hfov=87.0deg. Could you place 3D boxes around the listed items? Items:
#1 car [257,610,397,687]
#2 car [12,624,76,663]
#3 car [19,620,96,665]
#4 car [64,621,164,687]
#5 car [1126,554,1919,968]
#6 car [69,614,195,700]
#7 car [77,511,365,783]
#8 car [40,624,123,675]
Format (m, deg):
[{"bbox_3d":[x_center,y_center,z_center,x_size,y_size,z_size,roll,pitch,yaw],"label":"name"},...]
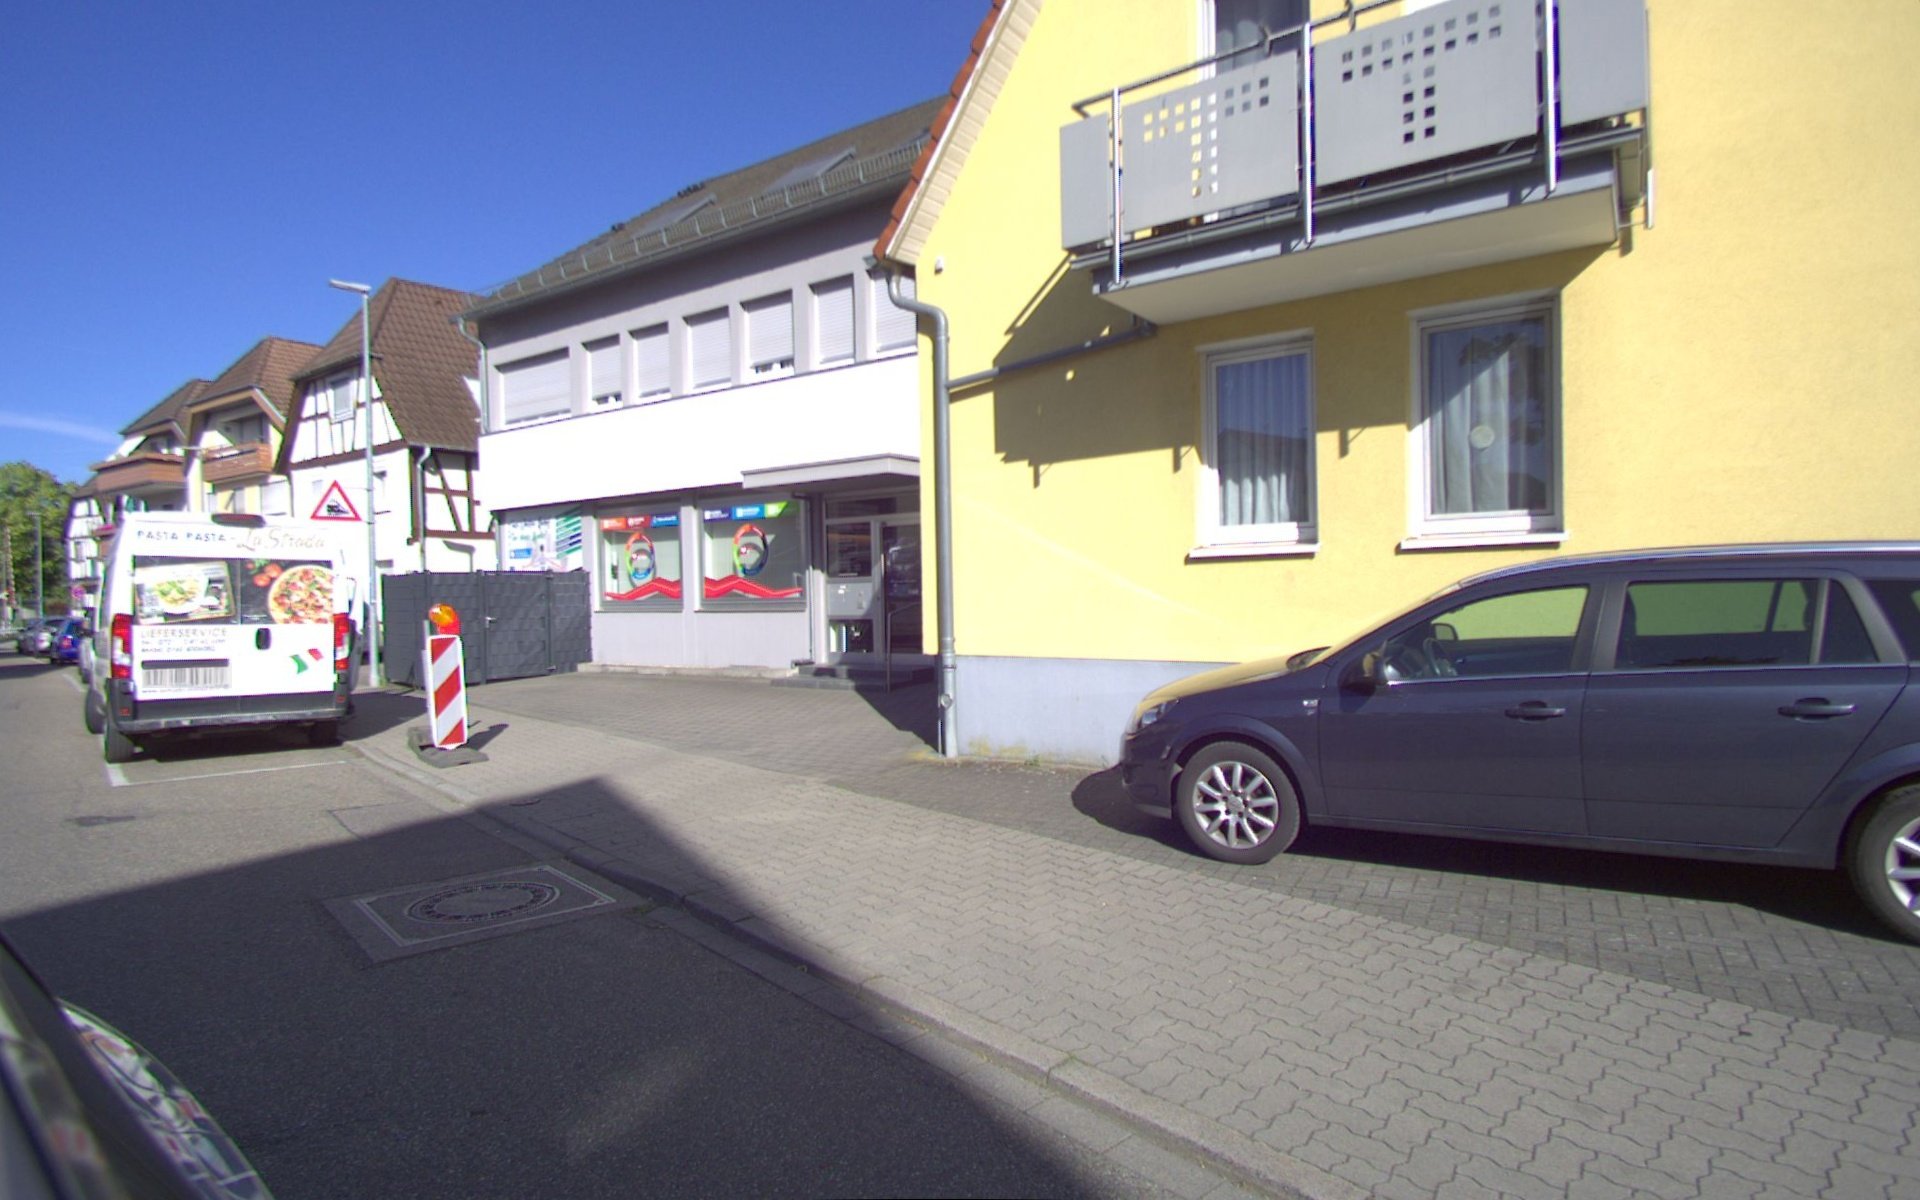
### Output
[{"bbox_3d":[-14.888,1.090,23.721,4.110,1.599,1.625,-1,0,41],"label":"car"},{"bbox_3d":[-37.855,1.772,41.795,3.615,1.488,1.606,-1,0,42],"label":"car"},{"bbox_3d":[-33.844,1.559,37.925,3.999,1.568,1.740,-1,0,42],"label":"car"},{"bbox_3d":[-21.538,1.309,25.713,1.636,1.519,3.686,-1,0,-45],"label":"car"},{"bbox_3d":[3.066,0.564,4.790,4.165,1.456,1.675,-1,1,34],"label":"car"},{"bbox_3d":[-17.784,1.143,21.676,1.703,1.630,4.114,-1,0,-45],"label":"car"},{"bbox_3d":[-8.997,0.457,12.061,2.225,2.489,5.523,-1,0,-42],"label":"car"},{"bbox_3d":[-27.506,1.484,31.649,3.957,1.450,1.600,-1,0,44],"label":"car"}]
